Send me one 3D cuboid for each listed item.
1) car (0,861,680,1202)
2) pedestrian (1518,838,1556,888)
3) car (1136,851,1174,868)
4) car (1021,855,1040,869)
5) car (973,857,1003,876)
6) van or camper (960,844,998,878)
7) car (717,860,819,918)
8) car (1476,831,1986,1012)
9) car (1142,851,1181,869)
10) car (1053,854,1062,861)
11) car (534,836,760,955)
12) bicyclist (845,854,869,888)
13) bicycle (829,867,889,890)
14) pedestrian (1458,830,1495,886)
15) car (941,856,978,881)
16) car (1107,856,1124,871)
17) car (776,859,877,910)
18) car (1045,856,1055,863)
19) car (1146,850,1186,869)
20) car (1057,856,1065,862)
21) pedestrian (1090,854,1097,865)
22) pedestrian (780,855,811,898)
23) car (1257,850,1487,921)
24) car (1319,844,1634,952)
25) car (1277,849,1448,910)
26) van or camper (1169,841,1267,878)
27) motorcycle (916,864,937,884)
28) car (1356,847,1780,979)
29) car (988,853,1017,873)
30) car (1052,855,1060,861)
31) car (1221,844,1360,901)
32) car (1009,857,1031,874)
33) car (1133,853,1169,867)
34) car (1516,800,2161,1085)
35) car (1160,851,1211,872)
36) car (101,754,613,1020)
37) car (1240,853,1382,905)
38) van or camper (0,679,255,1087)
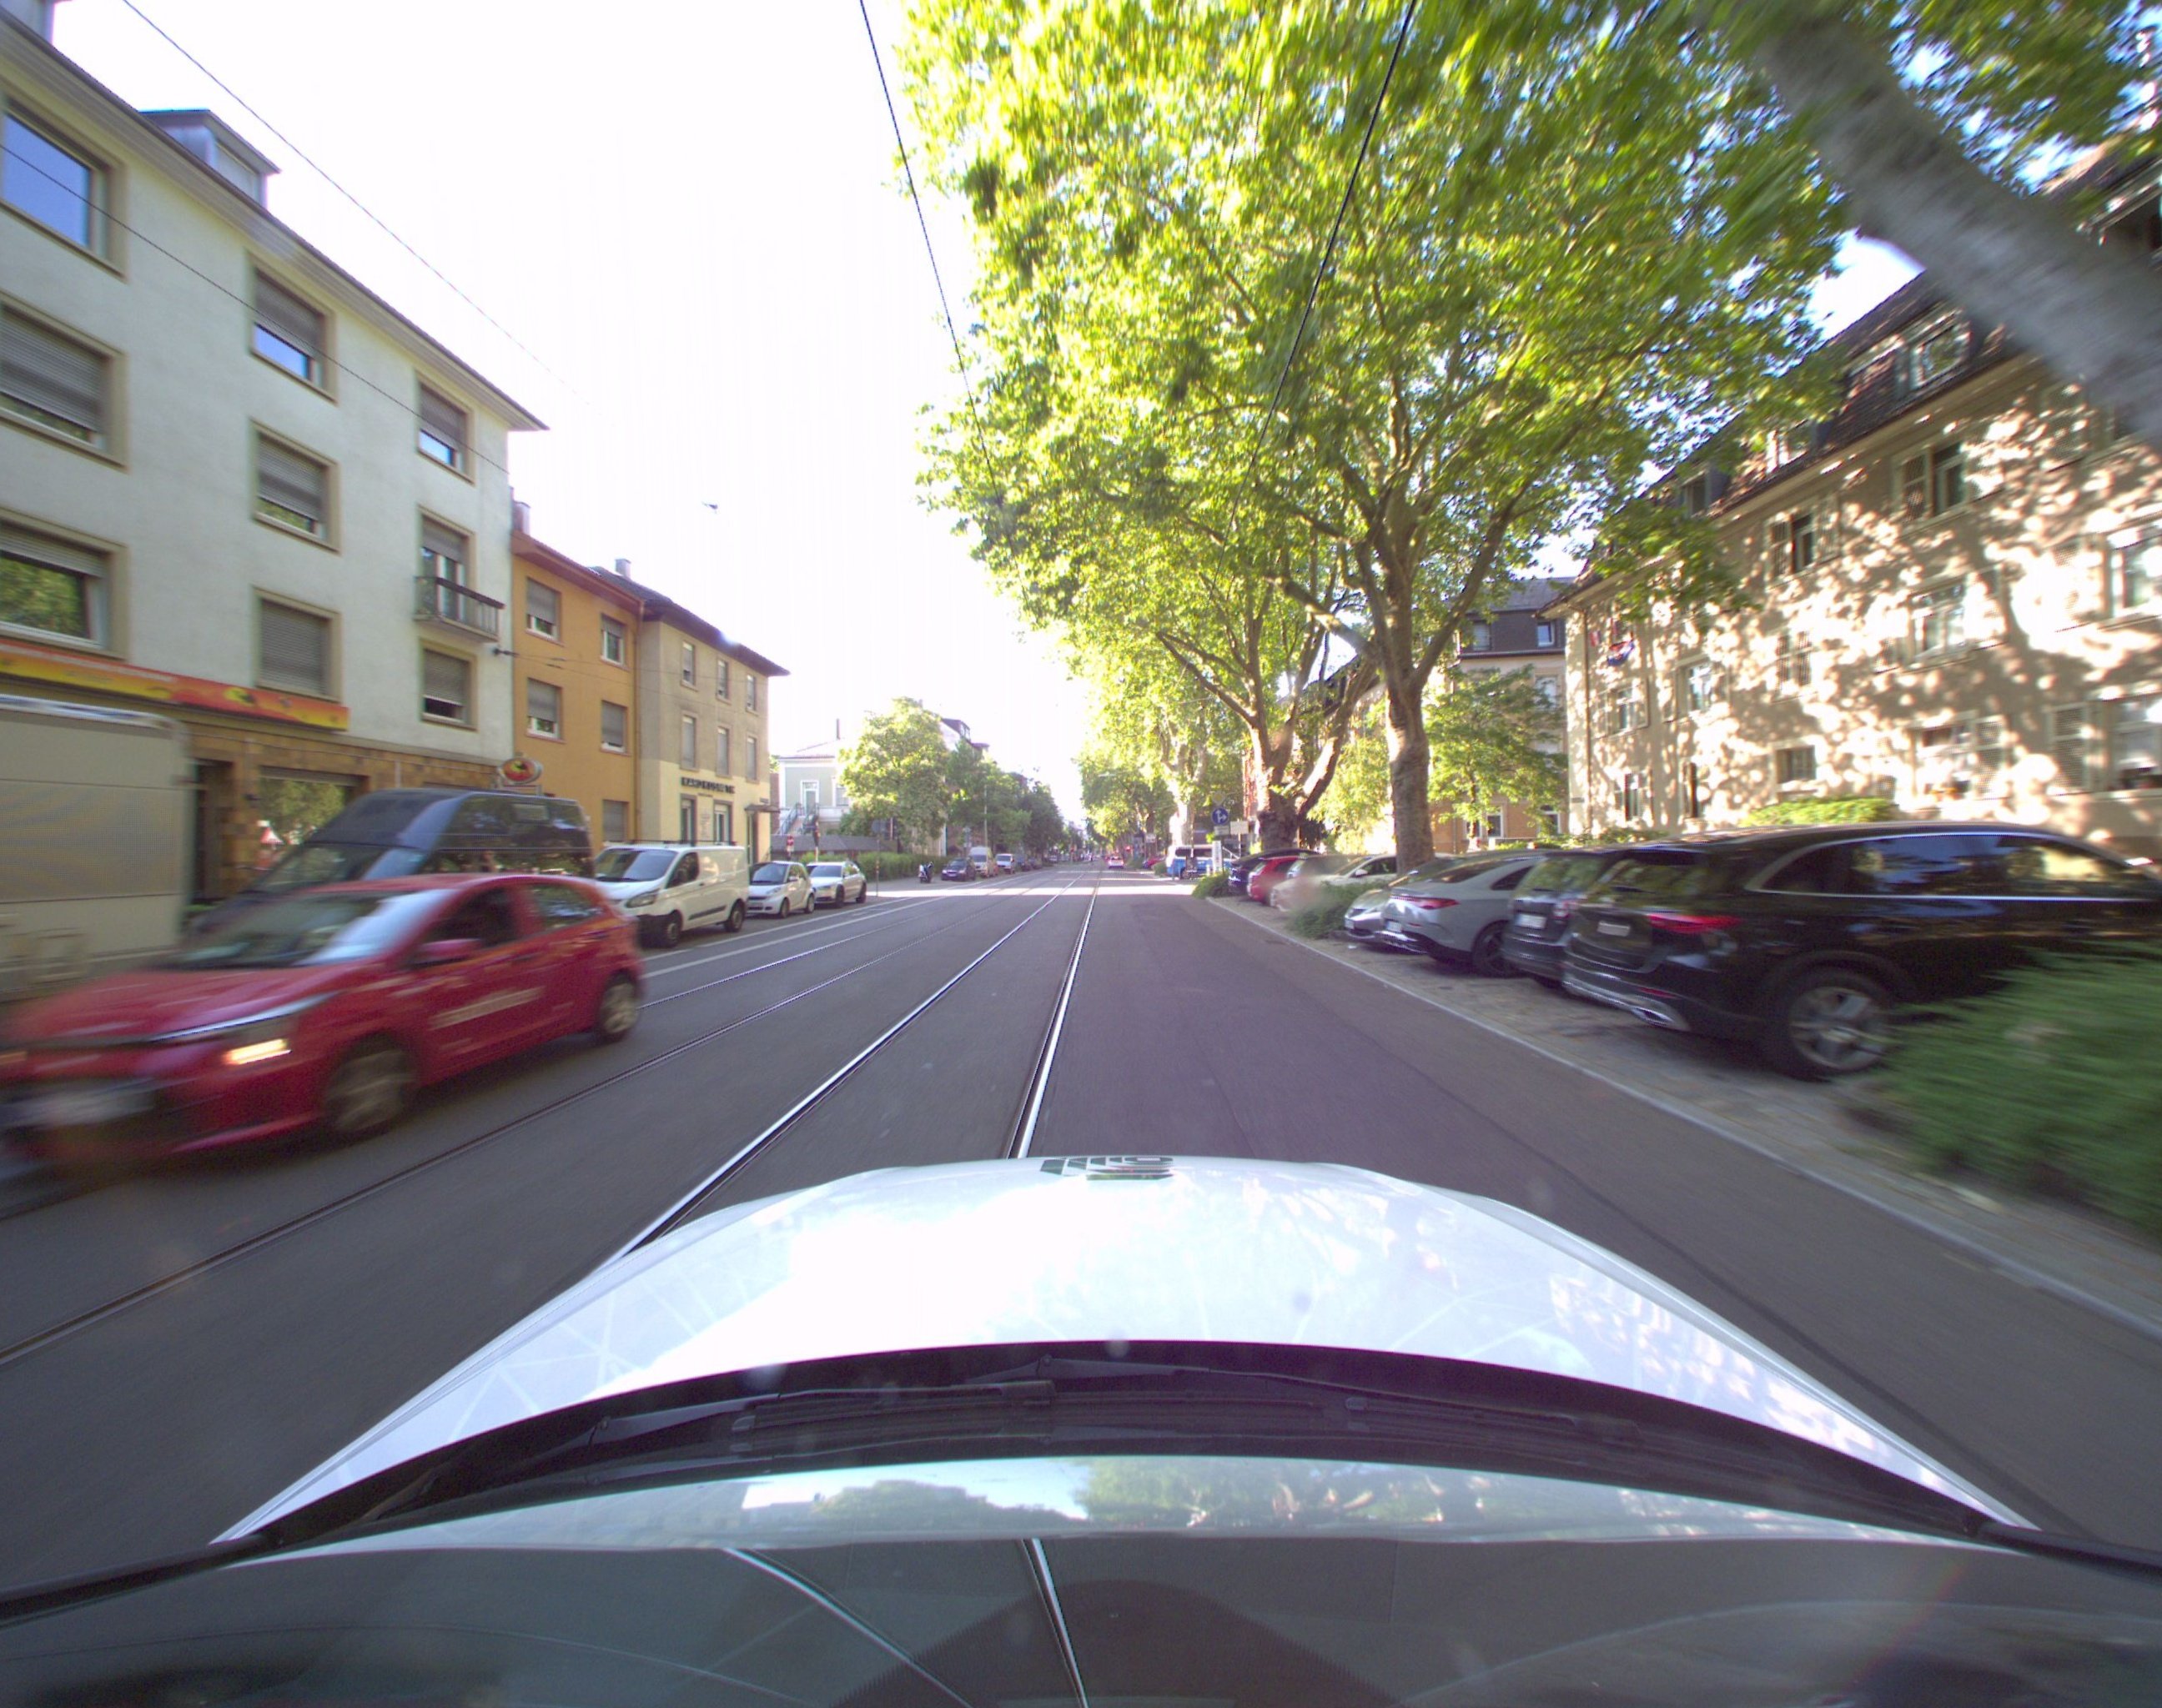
[{"bbox_3d":[-4.689,0.843,5.709,1.657,1.479,3.952,-2,0,1],"label":"car"},{"bbox_3d":[13.690,0.261,24.461,0.659,1.455,0.821,-1,0,1],"label":"pedestrian"},{"bbox_3d":[8.169,0.564,90.055,3.972,1.784,2.001,-1,0,1],"label":"car"},{"bbox_3d":[-6.742,1.050,109.267,1.986,1.745,4.661,-1,0,2],"label":"car"},{"bbox_3d":[-7.910,1.056,69.616,1.869,1.460,4.208,-1,0,2],"label":"car"},{"bbox_3d":[-7.982,0.516,64.253,2.071,2.533,5.320,-1,0,2],"label":"van or camper"},{"bbox_3d":[-8.818,0.950,23.211,1.565,1.526,3.043,0,0,3],"label":"car"},{"bbox_3d":[6.259,0.615,8.228,3.662,1.547,1.778,-2,0,3],"label":"car"},{"bbox_3d":[8.540,0.587,86.782,3.972,1.784,2.001,-1,0,1],"label":"car"},{"bbox_3d":[-5.629,0.900,194.152,1.914,1.419,3.586,-3,-1,-3],"label":"car"},{"bbox_3d":[-8.836,0.717,17.273,1.946,2.091,5.248,2,1,0],"label":"car"},{"bbox_3d":[-11.820,0.882,42.977,1.045,1.705,1.055,-1,0,-8],"label":"bicyclist"},{"bbox_3d":[-11.691,1.271,43.012,2.946,1.105,1.049,-1,0,-8],"label":"bicycle"},{"bbox_3d":[12.656,0.130,26.108,0.757,1.739,0.821,-1,0,1],"label":"pedestrian"},{"bbox_3d":[-8.154,0.937,55.015,1.781,1.587,4.344,2,0,1],"label":"car"},{"bbox_3d":[3.975,1.044,94.002,1.911,1.584,3.792,-3,0,1],"label":"car"},{"bbox_3d":[-8.530,0.956,27.847,1.830,1.468,5.068,2,0,0],"label":"car"},{"bbox_3d":[-6.003,1.054,157.472,1.912,1.419,3.719,-1,0,-1],"label":"car"},{"bbox_3d":[8.811,0.574,84.492,3.972,1.784,2.001,-1,0,1],"label":"car"},{"bbox_3d":[-5.185,1.224,212.000,1.912,1.419,3.589,-1,0,-1],"label":"car"},{"bbox_3d":[2.282,0.984,146.521,1.043,2.013,1.083,-1,0,5],"label":"pedestrian"},{"bbox_3d":[-10.883,0.860,31.027,0.784,1.592,0.942,-1,0,1],"label":"pedestrian"},{"bbox_3d":[6.593,0.688,18.854,4.669,1.446,1.893,-1,0,1],"label":"car"},{"bbox_3d":[6.098,0.652,12.933,4.126,1.509,1.797,-1,0,2],"label":"car"},{"bbox_3d":[7.263,0.642,21.296,3.868,1.435,1.754,-1,0,1],"label":"car"},{"bbox_3d":[8.327,0.295,49.842,5.543,2.013,2.242,-2,2,-3],"label":"van or camper"},{"bbox_3d":[-9.650,1.225,50.928,0.760,1.107,2.331,-1,2,2],"label":"motorcycle"},{"bbox_3d":[6.002,0.684,10.455,4.281,1.439,1.948,-1,0,0],"label":"car"},{"bbox_3d":[-7.559,0.860,78.928,2.165,1.861,4.661,-1,0,2],"label":"car"},{"bbox_3d":[-5.819,0.885,189.907,1.912,1.419,3.589,-1,0,-1],"label":"car"},{"bbox_3d":[6.595,0.564,25.950,3.911,1.670,1.960,-1,0,-1],"label":"car"},{"bbox_3d":[-6.958,1.277,93.336,1.986,1.861,4.180,-1,0,2],"label":"car"},{"bbox_3d":[7.932,0.692,92.367,3.972,1.521,2.001,-1,0,1],"label":"car"},{"bbox_3d":[5.973,0.518,5.916,4.474,1.602,2.030,-3,0,5],"label":"car"},{"bbox_3d":[8.504,0.575,66.410,3.972,1.609,2.001,-1,0,1],"label":"car"},{"bbox_3d":[-9.117,0.335,11.187,2.079,2.731,5.311,2,0,2],"label":"car"},{"bbox_3d":[6.616,0.699,23.724,3.636,1.378,1.890,-1,0,2],"label":"car"},{"bbox_3d":[-9.279,0.191,4.639,2.328,3.041,6.401,2,0,3],"label":"van or camper"}]
